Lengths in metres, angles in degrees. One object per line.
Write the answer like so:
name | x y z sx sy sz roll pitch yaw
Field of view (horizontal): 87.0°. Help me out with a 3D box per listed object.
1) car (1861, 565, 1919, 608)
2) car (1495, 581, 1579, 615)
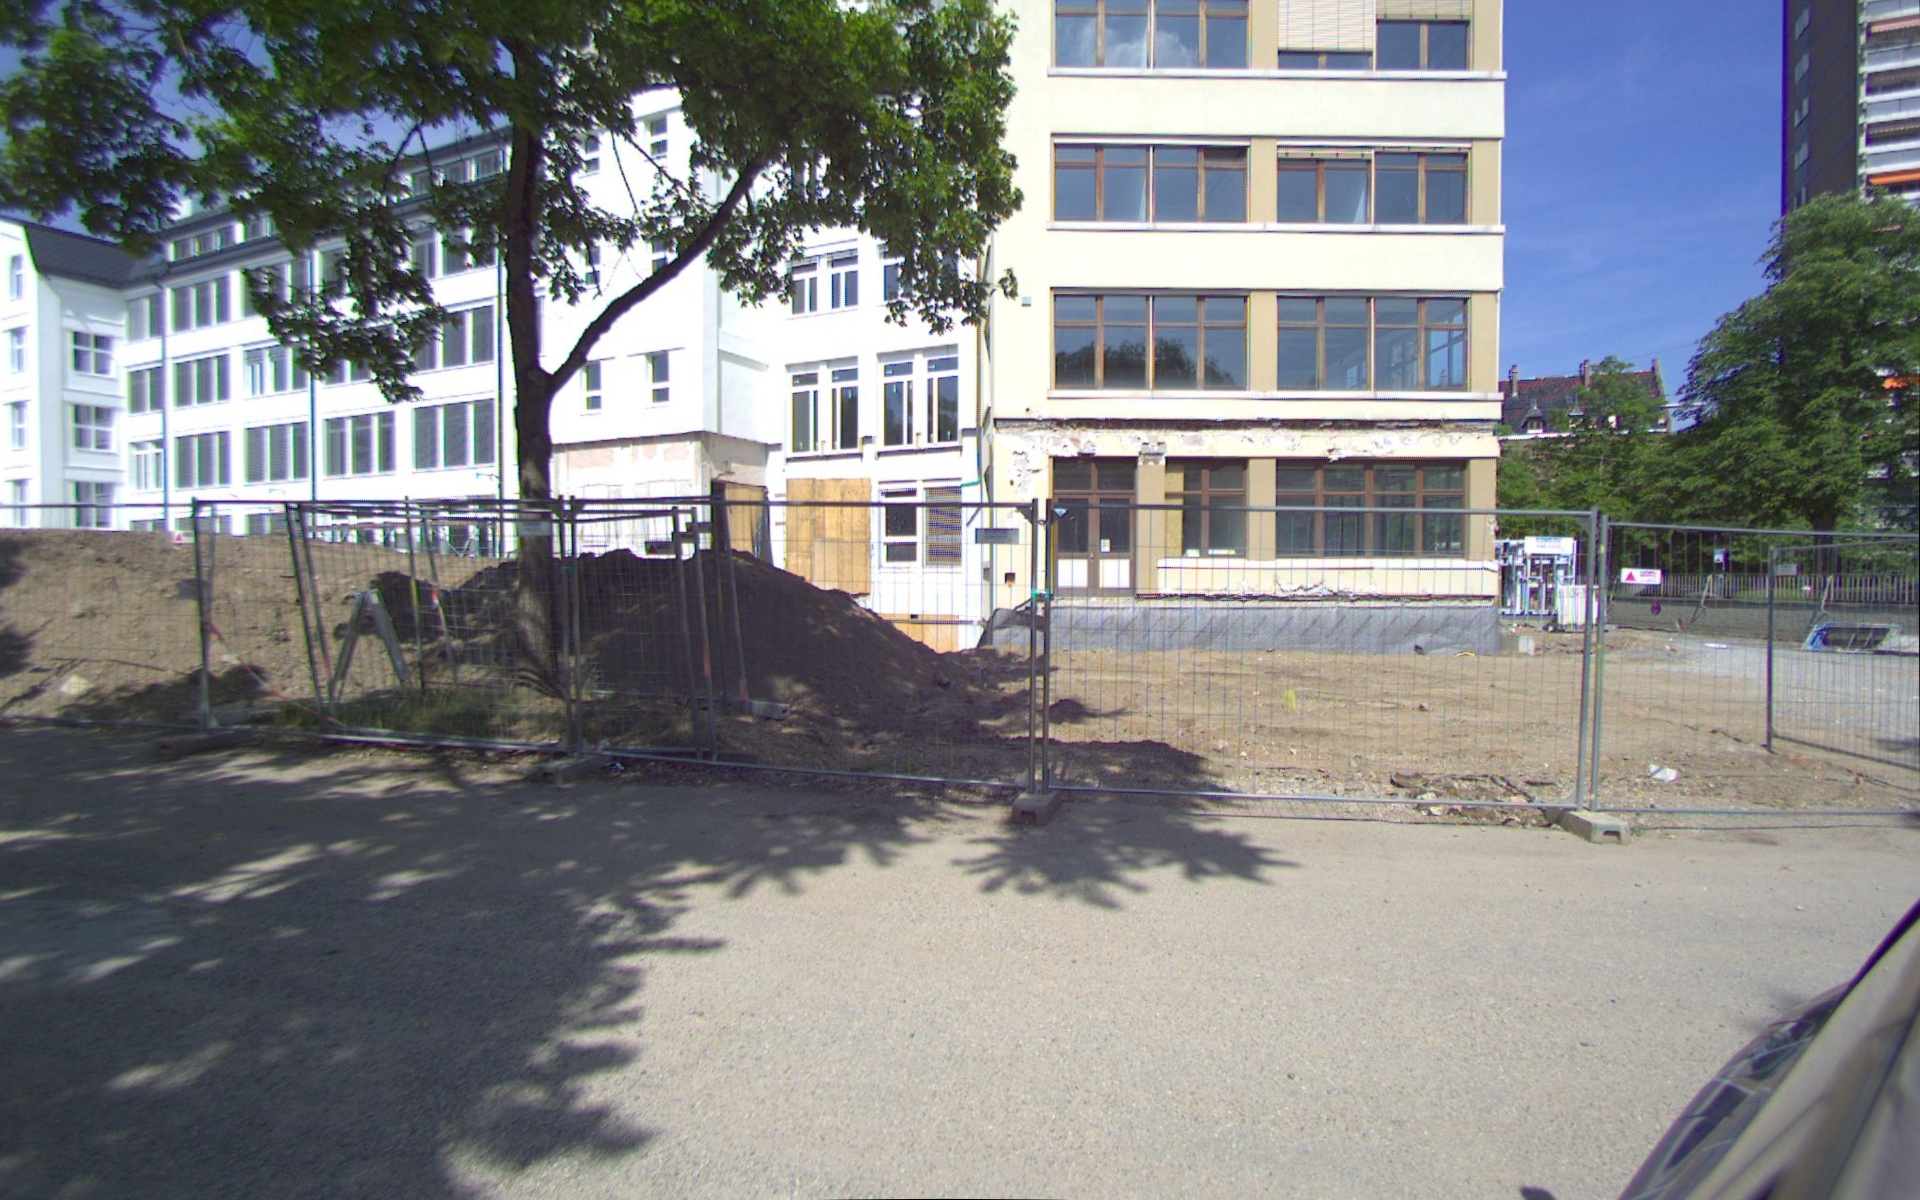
car | 35.528 -0.483 36.560 1.906 1.540 4.392 1 1 -2
car | 35.250 -0.151 62.007 1.958 1.970 5.252 0 1 -2
